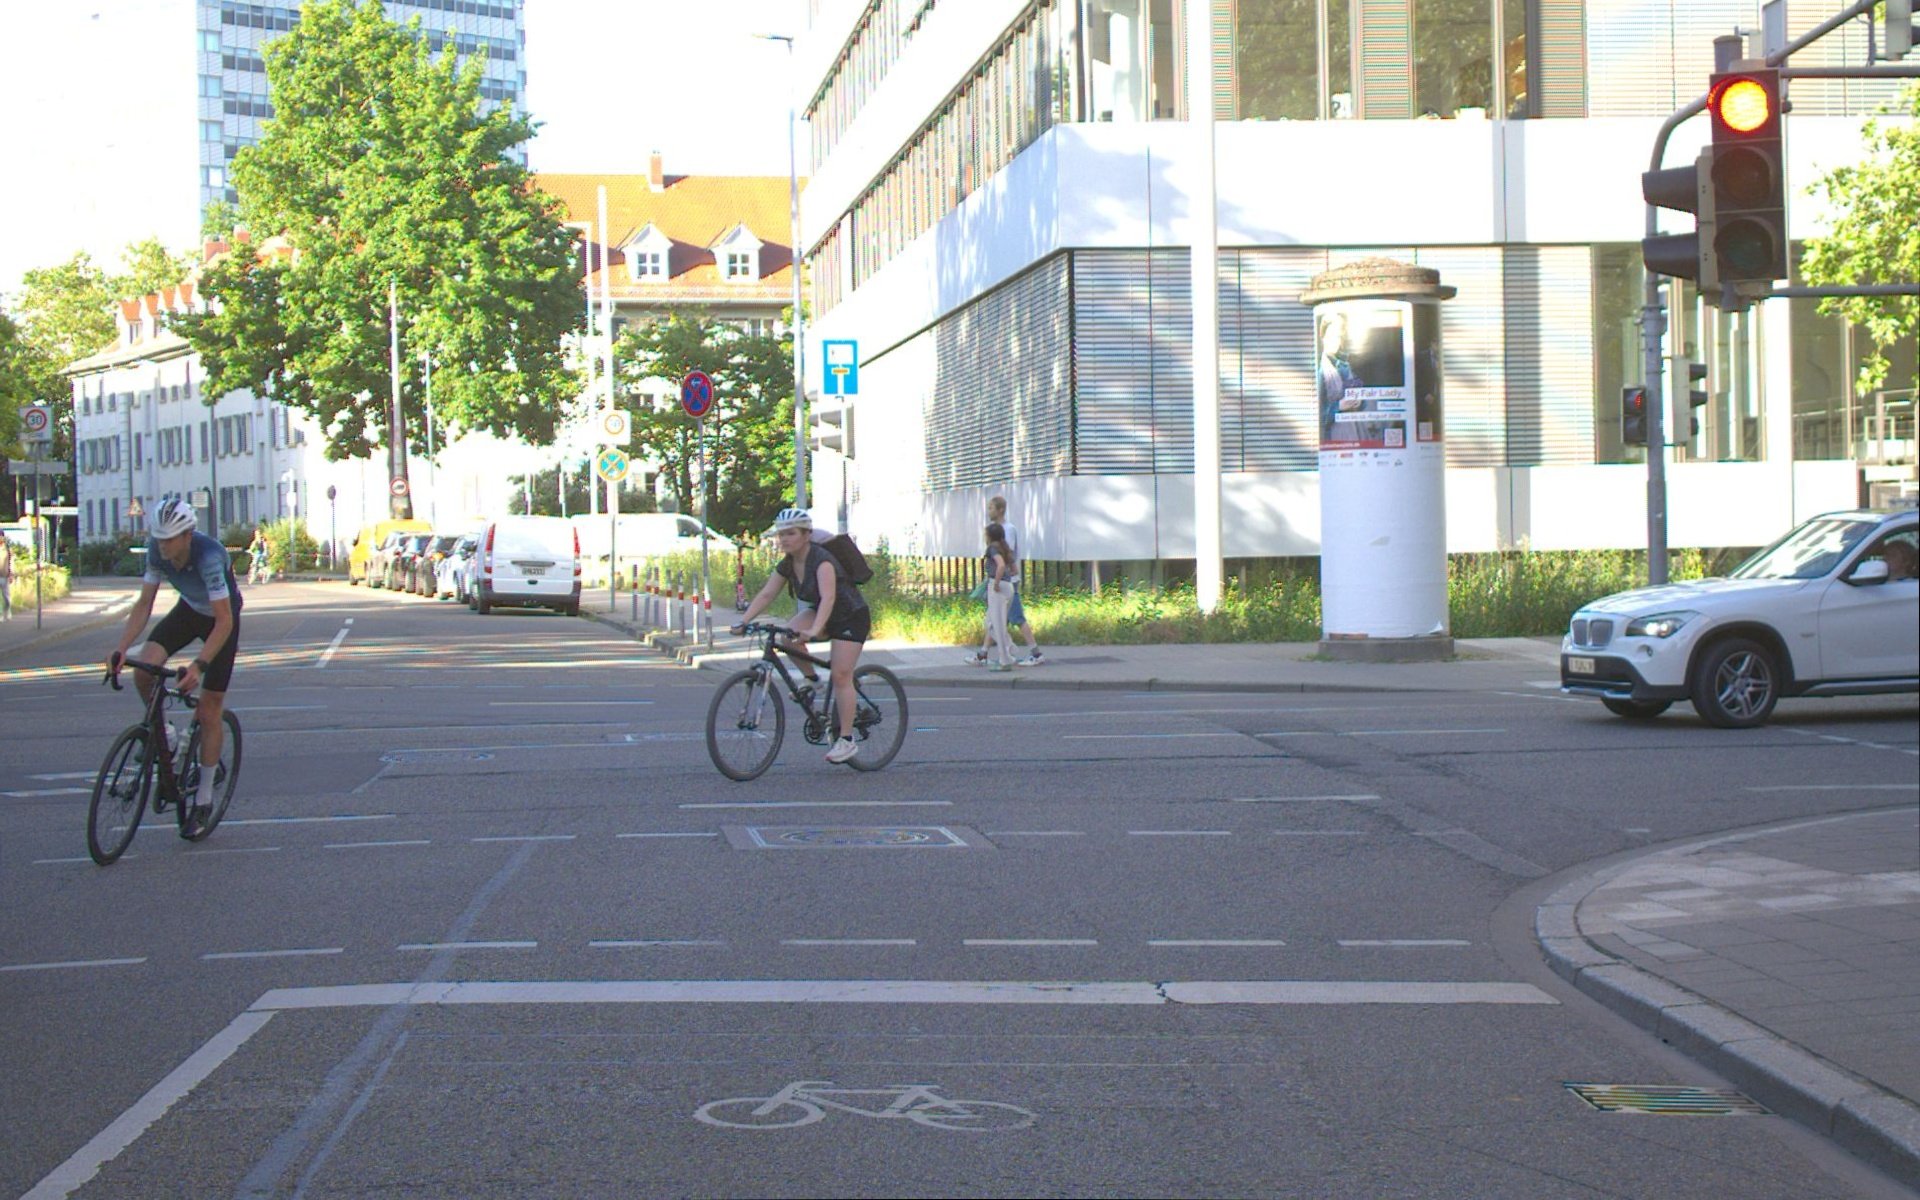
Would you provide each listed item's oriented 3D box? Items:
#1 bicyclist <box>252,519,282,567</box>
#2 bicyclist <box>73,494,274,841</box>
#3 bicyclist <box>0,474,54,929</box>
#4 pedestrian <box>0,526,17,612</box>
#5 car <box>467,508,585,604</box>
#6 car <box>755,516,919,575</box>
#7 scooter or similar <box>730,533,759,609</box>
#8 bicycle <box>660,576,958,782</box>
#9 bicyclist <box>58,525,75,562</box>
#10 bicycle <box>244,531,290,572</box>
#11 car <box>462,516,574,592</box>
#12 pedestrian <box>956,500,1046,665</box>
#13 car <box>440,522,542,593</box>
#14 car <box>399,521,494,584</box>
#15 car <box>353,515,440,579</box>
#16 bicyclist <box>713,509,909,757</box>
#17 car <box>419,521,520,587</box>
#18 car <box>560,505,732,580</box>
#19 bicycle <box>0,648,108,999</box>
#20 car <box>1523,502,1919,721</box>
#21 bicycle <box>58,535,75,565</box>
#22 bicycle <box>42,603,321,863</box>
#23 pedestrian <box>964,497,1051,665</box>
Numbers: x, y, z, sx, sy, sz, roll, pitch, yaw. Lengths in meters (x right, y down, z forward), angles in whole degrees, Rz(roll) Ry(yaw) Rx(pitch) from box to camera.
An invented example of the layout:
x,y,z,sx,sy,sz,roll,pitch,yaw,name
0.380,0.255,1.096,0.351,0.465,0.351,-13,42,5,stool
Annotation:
x,y,z,sx,sy,sz,roll,pitch,yaw,name
-20.209,-1.654,100.210,0.591,1.392,0.747,-1,1,10,bicyclist
-3.779,0.309,16.561,0.626,1.623,0.826,-1,1,11,bicyclist
-3.572,0.345,11.456,0.702,1.517,0.918,-1,1,12,bicyclist
-17.783,-0.583,63.485,0.699,1.581,0.637,1,0,-16,pedestrian
-8.215,-0.826,64.824,1.993,1.719,4.653,1,1,-10,car
-3.752,-1.656,104.776,4.635,1.719,2.001,1,1,-16,car
-3.654,-0.501,58.293,0.437,1.252,1.420,-1,1,-4,scooter or similar
-0.891,0.452,20.656,1.779,1.148,0.627,-2,2,-42,bicycle
-35.874,-2.276,138.005,0.615,1.467,0.741,-1,1,-15,bicyclist
-20.198,-1.416,100.231,0.591,1.148,1.969,-1,1,10,bicycle
-9.167,-0.946,71.037,1.993,1.493,4.653,1,1,-11,car
0.435,-0.188,36.280,0.765,1.713,0.647,1,0,17,pedestrian
-10.500,-0.948,76.809,1.993,1.493,4.653,1,1,-11,car
-12.876,-1.179,85.980,1.993,1.493,4.653,1,1,-13,car
-15.735,-1.469,95.836,1.993,1.719,4.653,1,1,-14,car
-0.893,0.185,20.658,0.971,1.441,0.627,-2,2,-42,bicyclist
-11.622,-1.074,81.256,1.993,1.493,4.288,1,1,-13,car
-9.399,-1.725,102.932,4.791,2.151,2.001,1,0,-17,car
-3.581,0.777,11.463,0.626,1.148,1.969,-1,1,12,bicycle
6.507,0.042,25.232,4.354,1.509,1.719,-1,1,-14,car
-35.876,-2.012,138.043,0.615,1.148,1.970,-1,1,-15,bicycle
-3.750,0.614,16.705,0.626,1.148,1.783,-1,1,11,bicycle
0.519,-0.206,37.185,0.765,1.789,0.647,1,0,17,pedestrian
